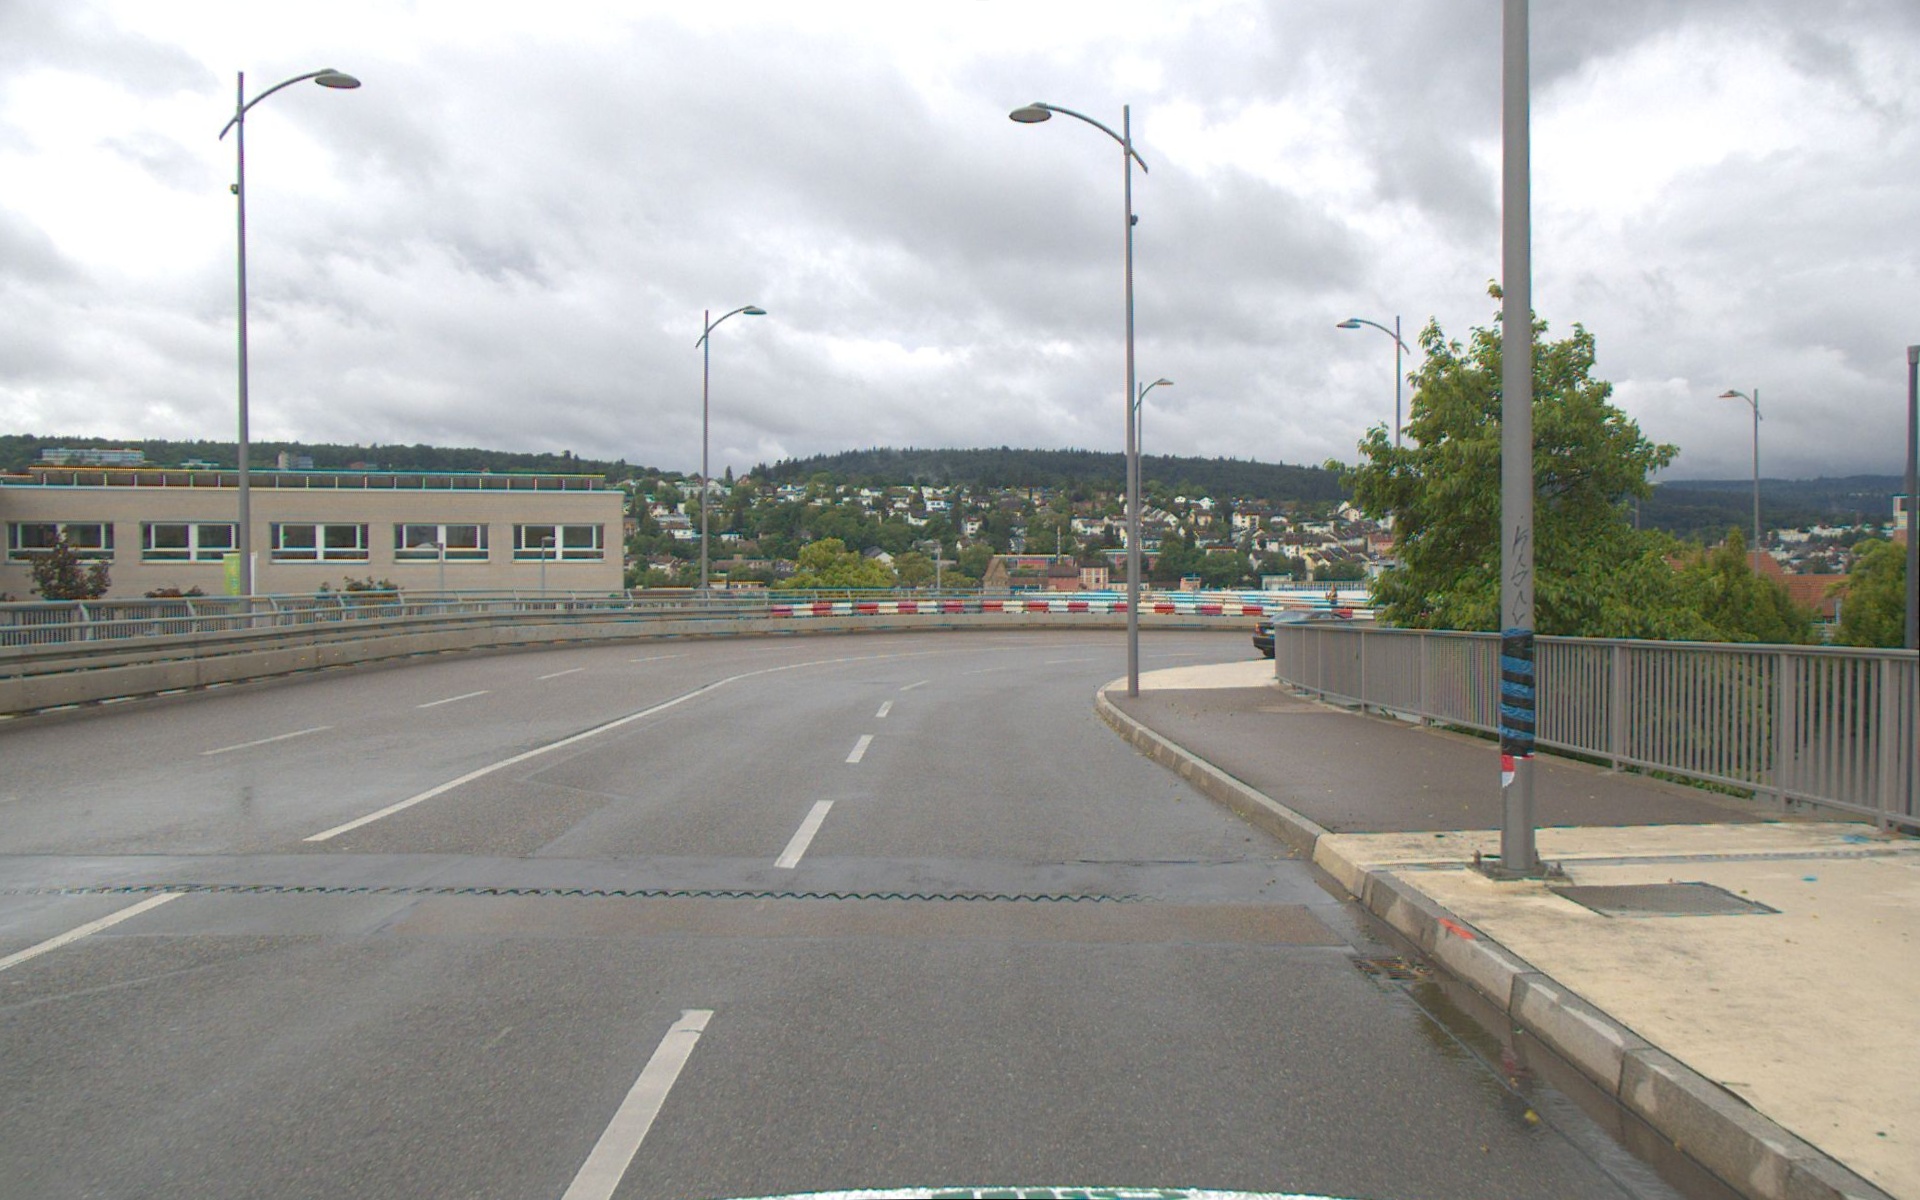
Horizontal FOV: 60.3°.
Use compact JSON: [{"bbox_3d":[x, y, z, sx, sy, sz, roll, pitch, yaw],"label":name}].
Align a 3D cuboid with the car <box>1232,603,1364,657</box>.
[{"bbox_3d":[9.572,0.823,46.706,3.688,1.444,1.688,1,0,-39],"label":"car"}]
